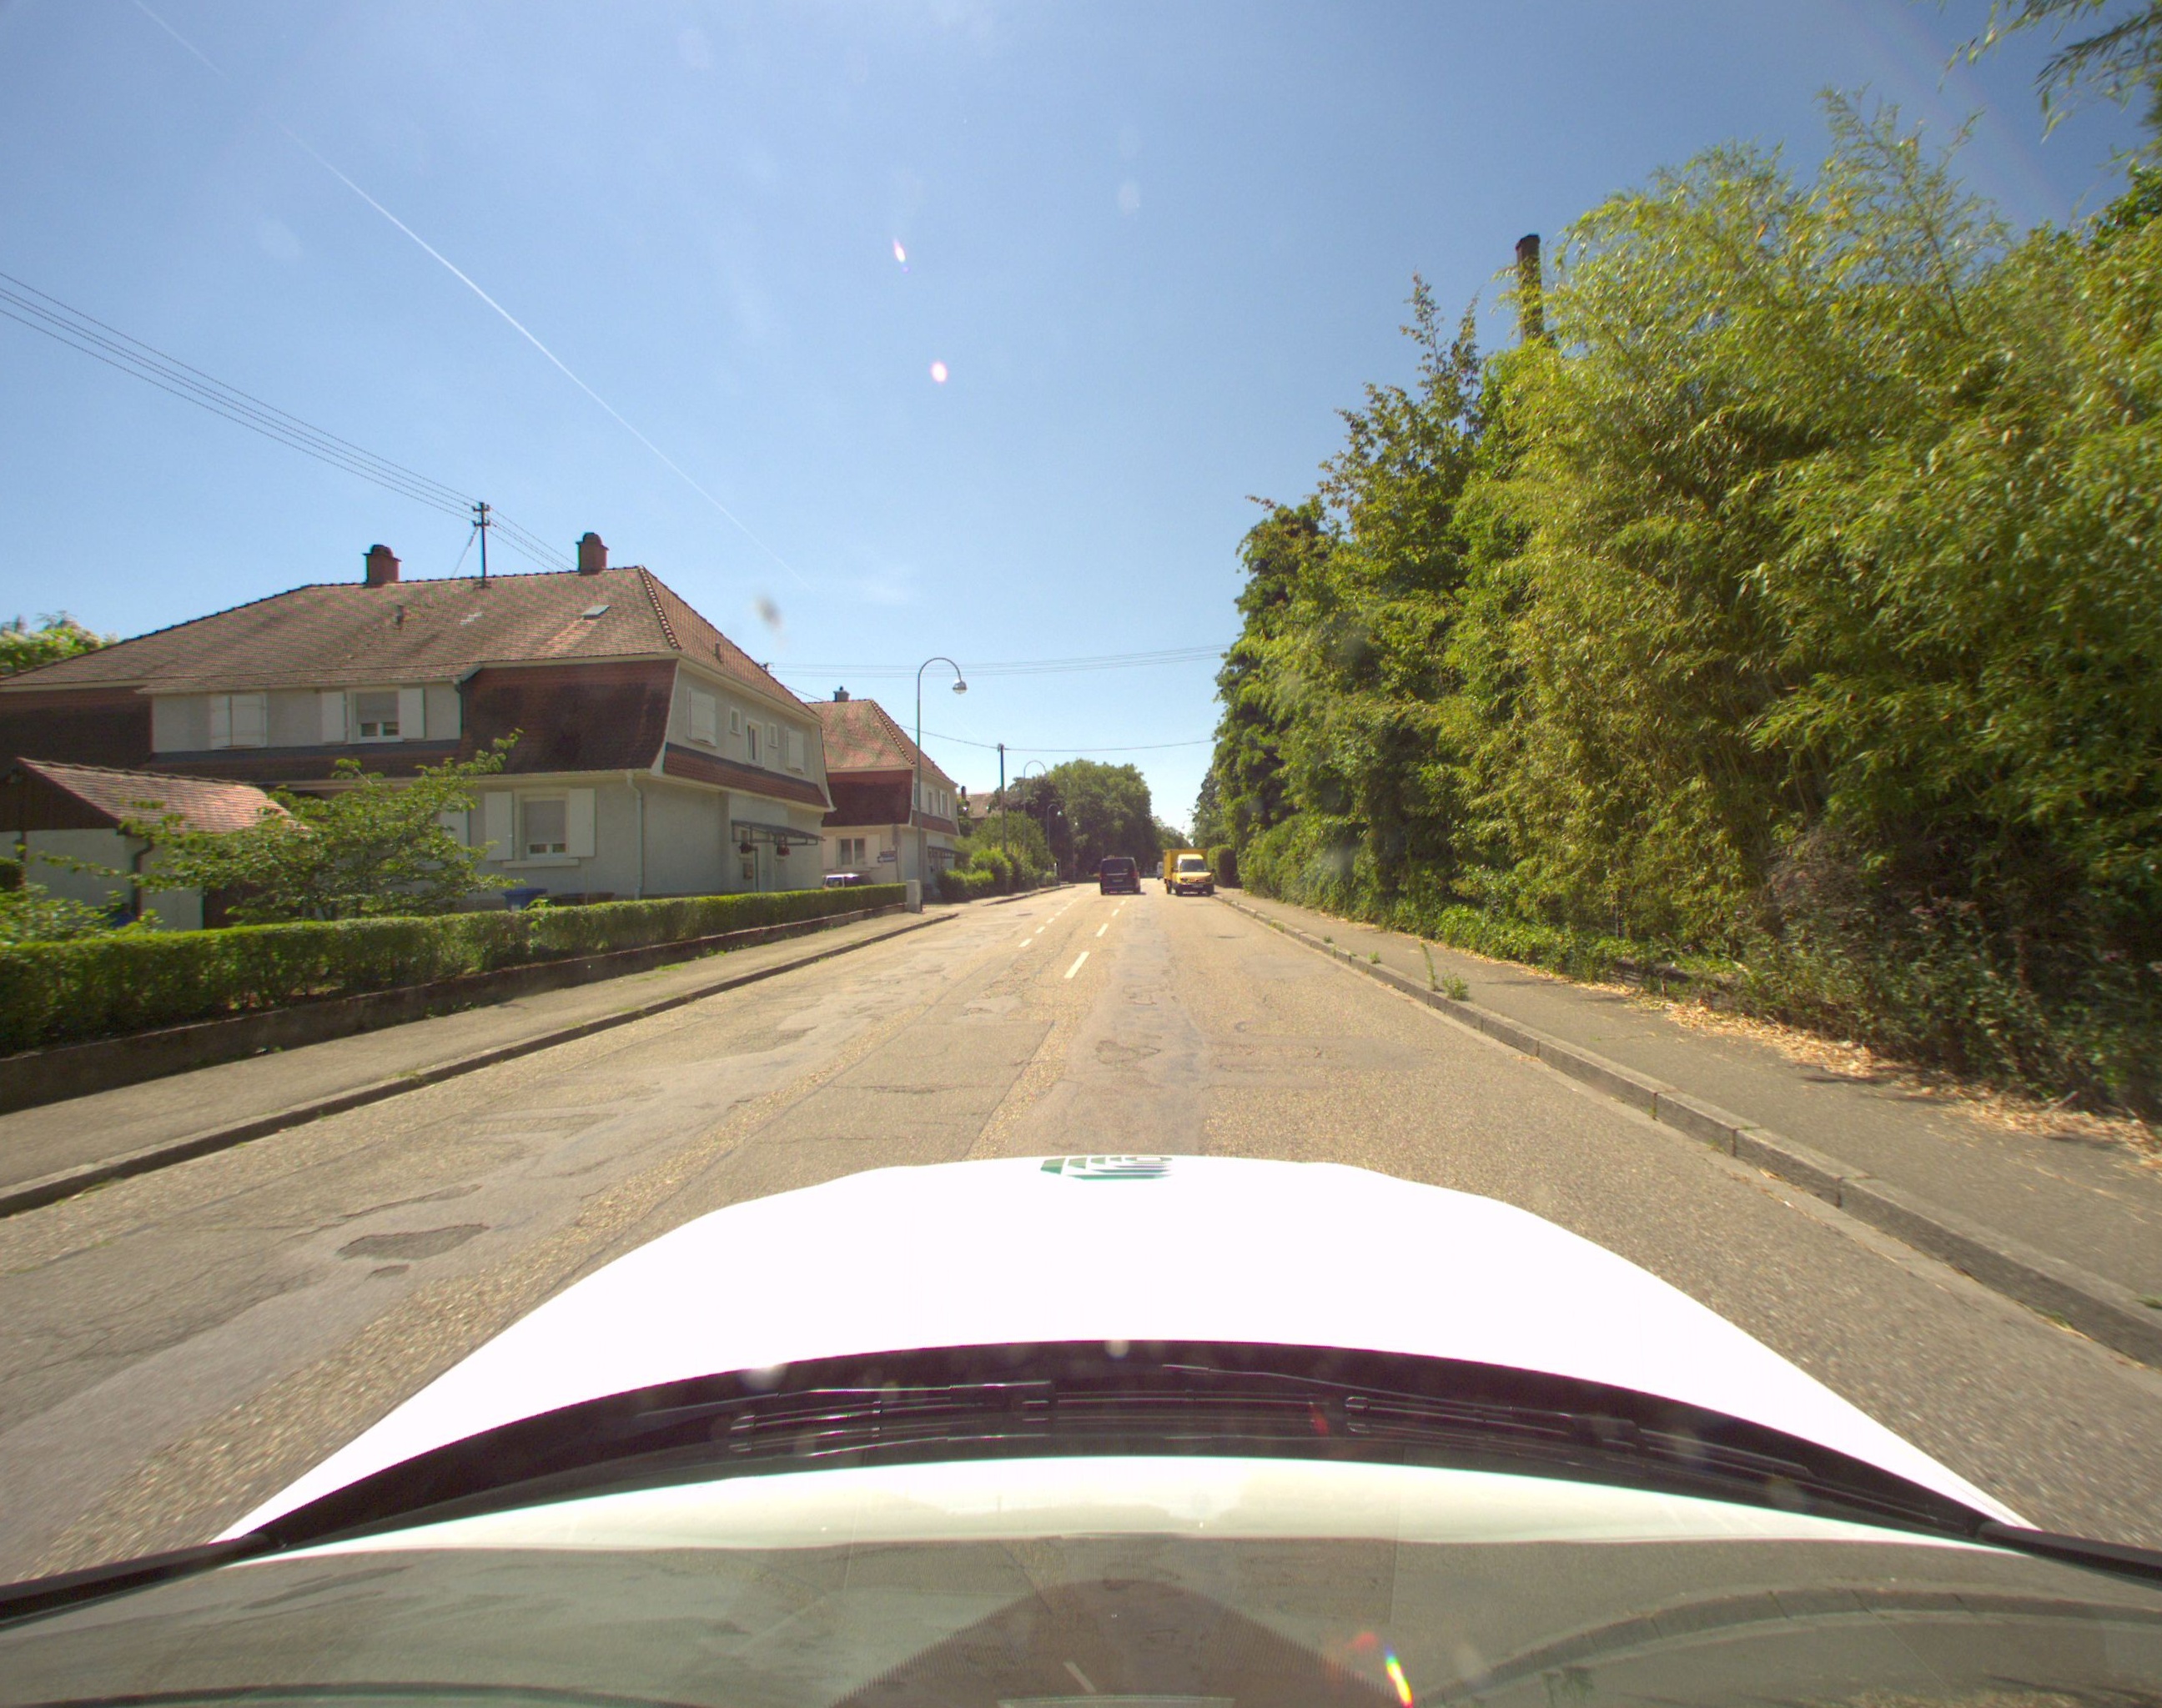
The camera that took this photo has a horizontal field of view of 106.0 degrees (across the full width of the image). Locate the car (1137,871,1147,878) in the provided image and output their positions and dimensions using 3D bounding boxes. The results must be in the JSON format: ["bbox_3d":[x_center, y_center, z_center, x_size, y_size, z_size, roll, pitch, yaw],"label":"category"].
[{"bbox_3d":[12.644,4.197,169.029,1.537,1.449,3.016,-2,-1,13],"label":"car"}]

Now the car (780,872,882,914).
[{"bbox_3d":[-11.092,1.724,36.337,3.850,1.641,1.881,-3,-1,3],"label":"car"}]

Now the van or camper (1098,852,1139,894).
[{"bbox_3d":[2.017,0.981,42.325,1.894,2.014,5.276,-1,-1,5],"label":"van or camper"}]

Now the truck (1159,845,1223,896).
[{"bbox_3d":[5.317,0.825,40.269,2.348,2.258,6.092,-2,-1,1],"label":"truck"}]

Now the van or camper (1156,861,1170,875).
[{"bbox_3d":[12.046,2.065,119.333,1.983,2.014,4.007,-2,-1,6],"label":"van or camper"}]

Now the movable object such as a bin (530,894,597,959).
[{"bbox_3d":[-11.217,1.555,17.680,0.816,1.322,0.920,-2,-1,1],"label":"movable object such as a bin"}]

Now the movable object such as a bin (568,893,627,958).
[{"bbox_3d":[-10.449,1.526,17.620,0.687,1.322,0.920,-2,-1,1],"label":"movable object such as a bin"}]

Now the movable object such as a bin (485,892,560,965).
[{"bbox_3d":[-12.101,1.587,17.674,0.874,1.473,1.009,-2,-1,1],"label":"movable object such as a bin"}]

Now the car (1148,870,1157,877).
[{"bbox_3d":[16.304,4.415,186.046,1.537,1.449,3.016,-2,-1,13],"label":"car"}]

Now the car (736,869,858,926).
[{"bbox_3d":[-10.706,1.621,30.897,3.850,1.905,1.881,-3,-1,3],"label":"car"}]
